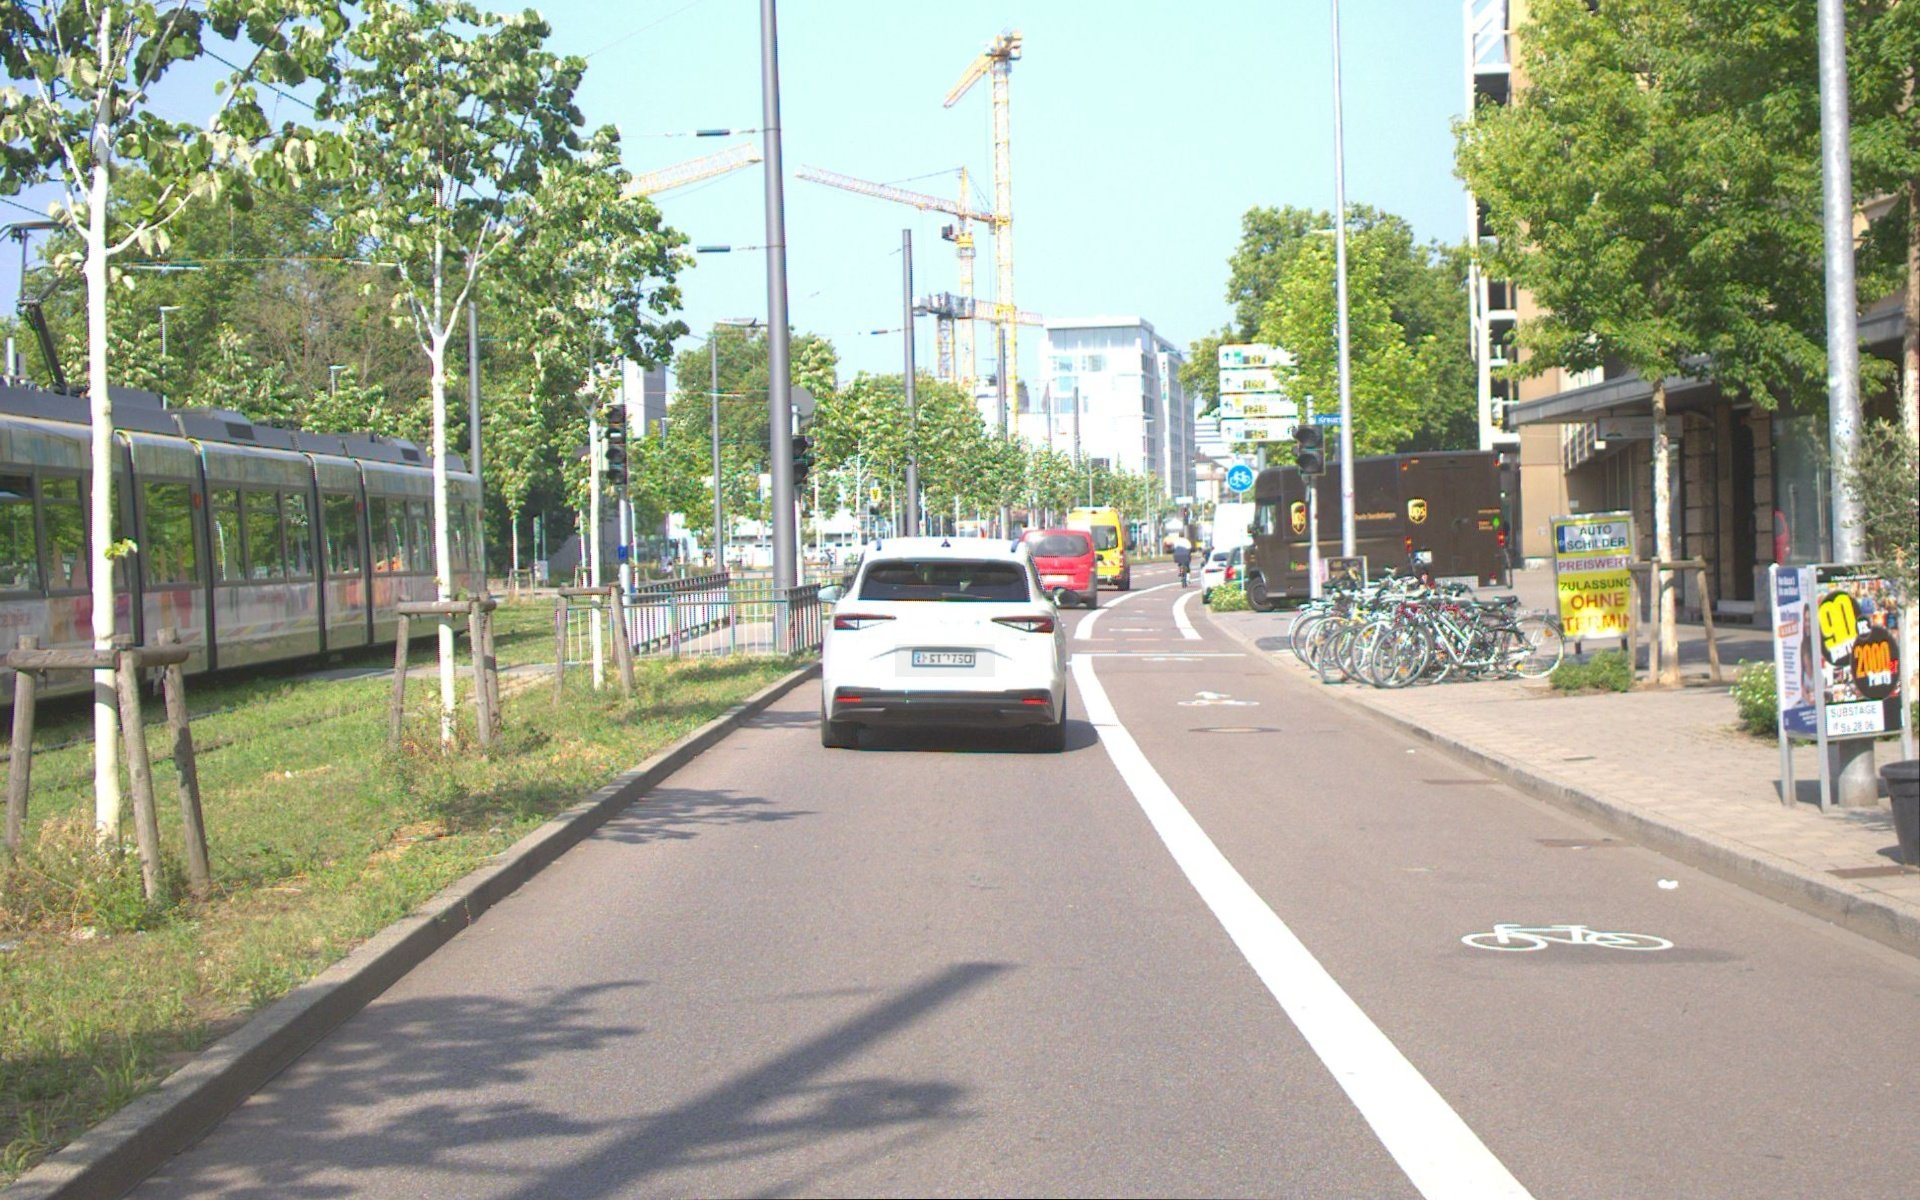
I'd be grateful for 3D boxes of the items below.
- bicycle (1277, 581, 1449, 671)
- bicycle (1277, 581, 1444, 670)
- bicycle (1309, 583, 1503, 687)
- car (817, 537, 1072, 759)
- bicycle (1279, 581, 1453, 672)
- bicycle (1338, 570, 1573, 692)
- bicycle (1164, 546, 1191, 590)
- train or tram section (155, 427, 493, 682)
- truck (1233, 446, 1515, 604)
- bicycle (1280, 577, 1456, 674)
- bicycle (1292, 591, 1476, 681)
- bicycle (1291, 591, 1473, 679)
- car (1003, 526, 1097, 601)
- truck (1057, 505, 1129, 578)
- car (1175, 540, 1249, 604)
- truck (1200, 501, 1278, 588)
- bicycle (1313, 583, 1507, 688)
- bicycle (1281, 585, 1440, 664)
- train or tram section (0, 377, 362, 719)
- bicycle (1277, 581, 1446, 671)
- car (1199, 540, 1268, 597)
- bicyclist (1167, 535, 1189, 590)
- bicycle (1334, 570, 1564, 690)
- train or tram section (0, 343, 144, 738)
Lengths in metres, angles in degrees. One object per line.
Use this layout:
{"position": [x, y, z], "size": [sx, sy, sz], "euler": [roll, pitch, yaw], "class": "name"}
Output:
{"position": [4.739, 0.309, 40.470], "size": [1.934, 0.942, 0.440], "euler": [-3, 1, 4], "class": "bicycle"}
{"position": [4.804, 0.305, 41.296], "size": [1.934, 0.942, 0.428], "euler": [-3, 1, 4], "class": "bicycle"}
{"position": [4.753, 0.370, 36.690], "size": [1.955, 0.983, 0.471], "euler": [-3, 1, 1], "class": "bicycle"}
{"position": [-0.149, 0.316, 26.951], "size": [1.817, 1.584, 4.407], "euler": [0, 1, -1], "class": "car"}
{"position": [4.713, 0.312, 39.991], "size": [1.934, 0.942, 0.440], "euler": [-3, 1, 4], "class": "bicycle"}
{"position": [5.007, 0.310, 34.823], "size": [2.239, 1.100, 0.588], "euler": [-3, 1, 1], "class": "bicycle"}
{"position": [7.629, -1.136, 120.646], "size": [0.781, 1.491, 2.800], "euler": [-1, 1, 0], "class": "bicycle"}
{"position": [-9.927, -0.705, 55.279], "size": [2.898, 3.574, 12.225], "euler": [-2, 0, 1], "class": "train or tram section"}
{"position": [8.226, -1.488, 69.255], "size": [2.509, 3.001, 6.962], "euler": [-2, 1, -22], "class": "truck"}
{"position": [4.688, 0.291, 39.544], "size": [1.934, 1.009, 0.440], "euler": [-3, 1, 4], "class": "bicycle"}
{"position": [4.666, 0.391, 37.892], "size": [1.934, 0.871, 0.441], "euler": [-3, 1, 1], "class": "bicycle"}
{"position": [4.697, 0.388, 38.335], "size": [1.934, 0.871, 0.441], "euler": [-3, 1, 1], "class": "bicycle"}
{"position": [2.151, -0.880, 80.778], "size": [1.994, 1.678, 4.368], "euler": [-1, 1, 4], "class": "car"}
{"position": [4.362, -1.932, 113.759], "size": [2.213, 2.310, 5.890], "euler": [-1, 1, 1], "class": "truck"}
{"position": [6.174, -0.702, 83.955], "size": [1.650, 1.494, 3.525], "euler": [-1, 1, 6], "class": "car"}
{"position": [8.239, -1.652, 101.789], "size": [1.993, 2.500, 4.000], "euler": [-1, 1, 1], "class": "truck"}
{"position": [4.734, 0.373, 36.210], "size": [1.934, 0.983, 0.471], "euler": [-3, 1, 1], "class": "bicycle"}
{"position": [4.936, 0.306, 42.408], "size": [1.887, 0.860, 0.428], "euler": [-3, 1, 4], "class": "bicycle"}
{"position": [-10.083, -0.583, 42.753], "size": [2.898, 3.574, 12.934], "euler": [-2, 0, 0], "class": "train or tram section"}
{"position": [4.763, 0.307, 40.853], "size": [1.934, 0.942, 0.428], "euler": [-3, 1, 4], "class": "bicycle"}
{"position": [7.029, -0.828, 88.141], "size": [1.650, 1.380, 3.525], "euler": [-1, 1, 6], "class": "car"}
{"position": [7.634, -1.326, 120.482], "size": [0.709, 1.889, 0.843], "euler": [-1, 1, 1], "class": "bicyclist"}
{"position": [5.024, 0.307, 35.378], "size": [2.239, 1.100, 0.519], "euler": [-3, 1, 1], "class": "bicycle"}
{"position": [-10.125, -0.497, 30.045], "size": [2.898, 3.574, 12.477], "euler": [-2, 0, 0], "class": "train or tram section"}
